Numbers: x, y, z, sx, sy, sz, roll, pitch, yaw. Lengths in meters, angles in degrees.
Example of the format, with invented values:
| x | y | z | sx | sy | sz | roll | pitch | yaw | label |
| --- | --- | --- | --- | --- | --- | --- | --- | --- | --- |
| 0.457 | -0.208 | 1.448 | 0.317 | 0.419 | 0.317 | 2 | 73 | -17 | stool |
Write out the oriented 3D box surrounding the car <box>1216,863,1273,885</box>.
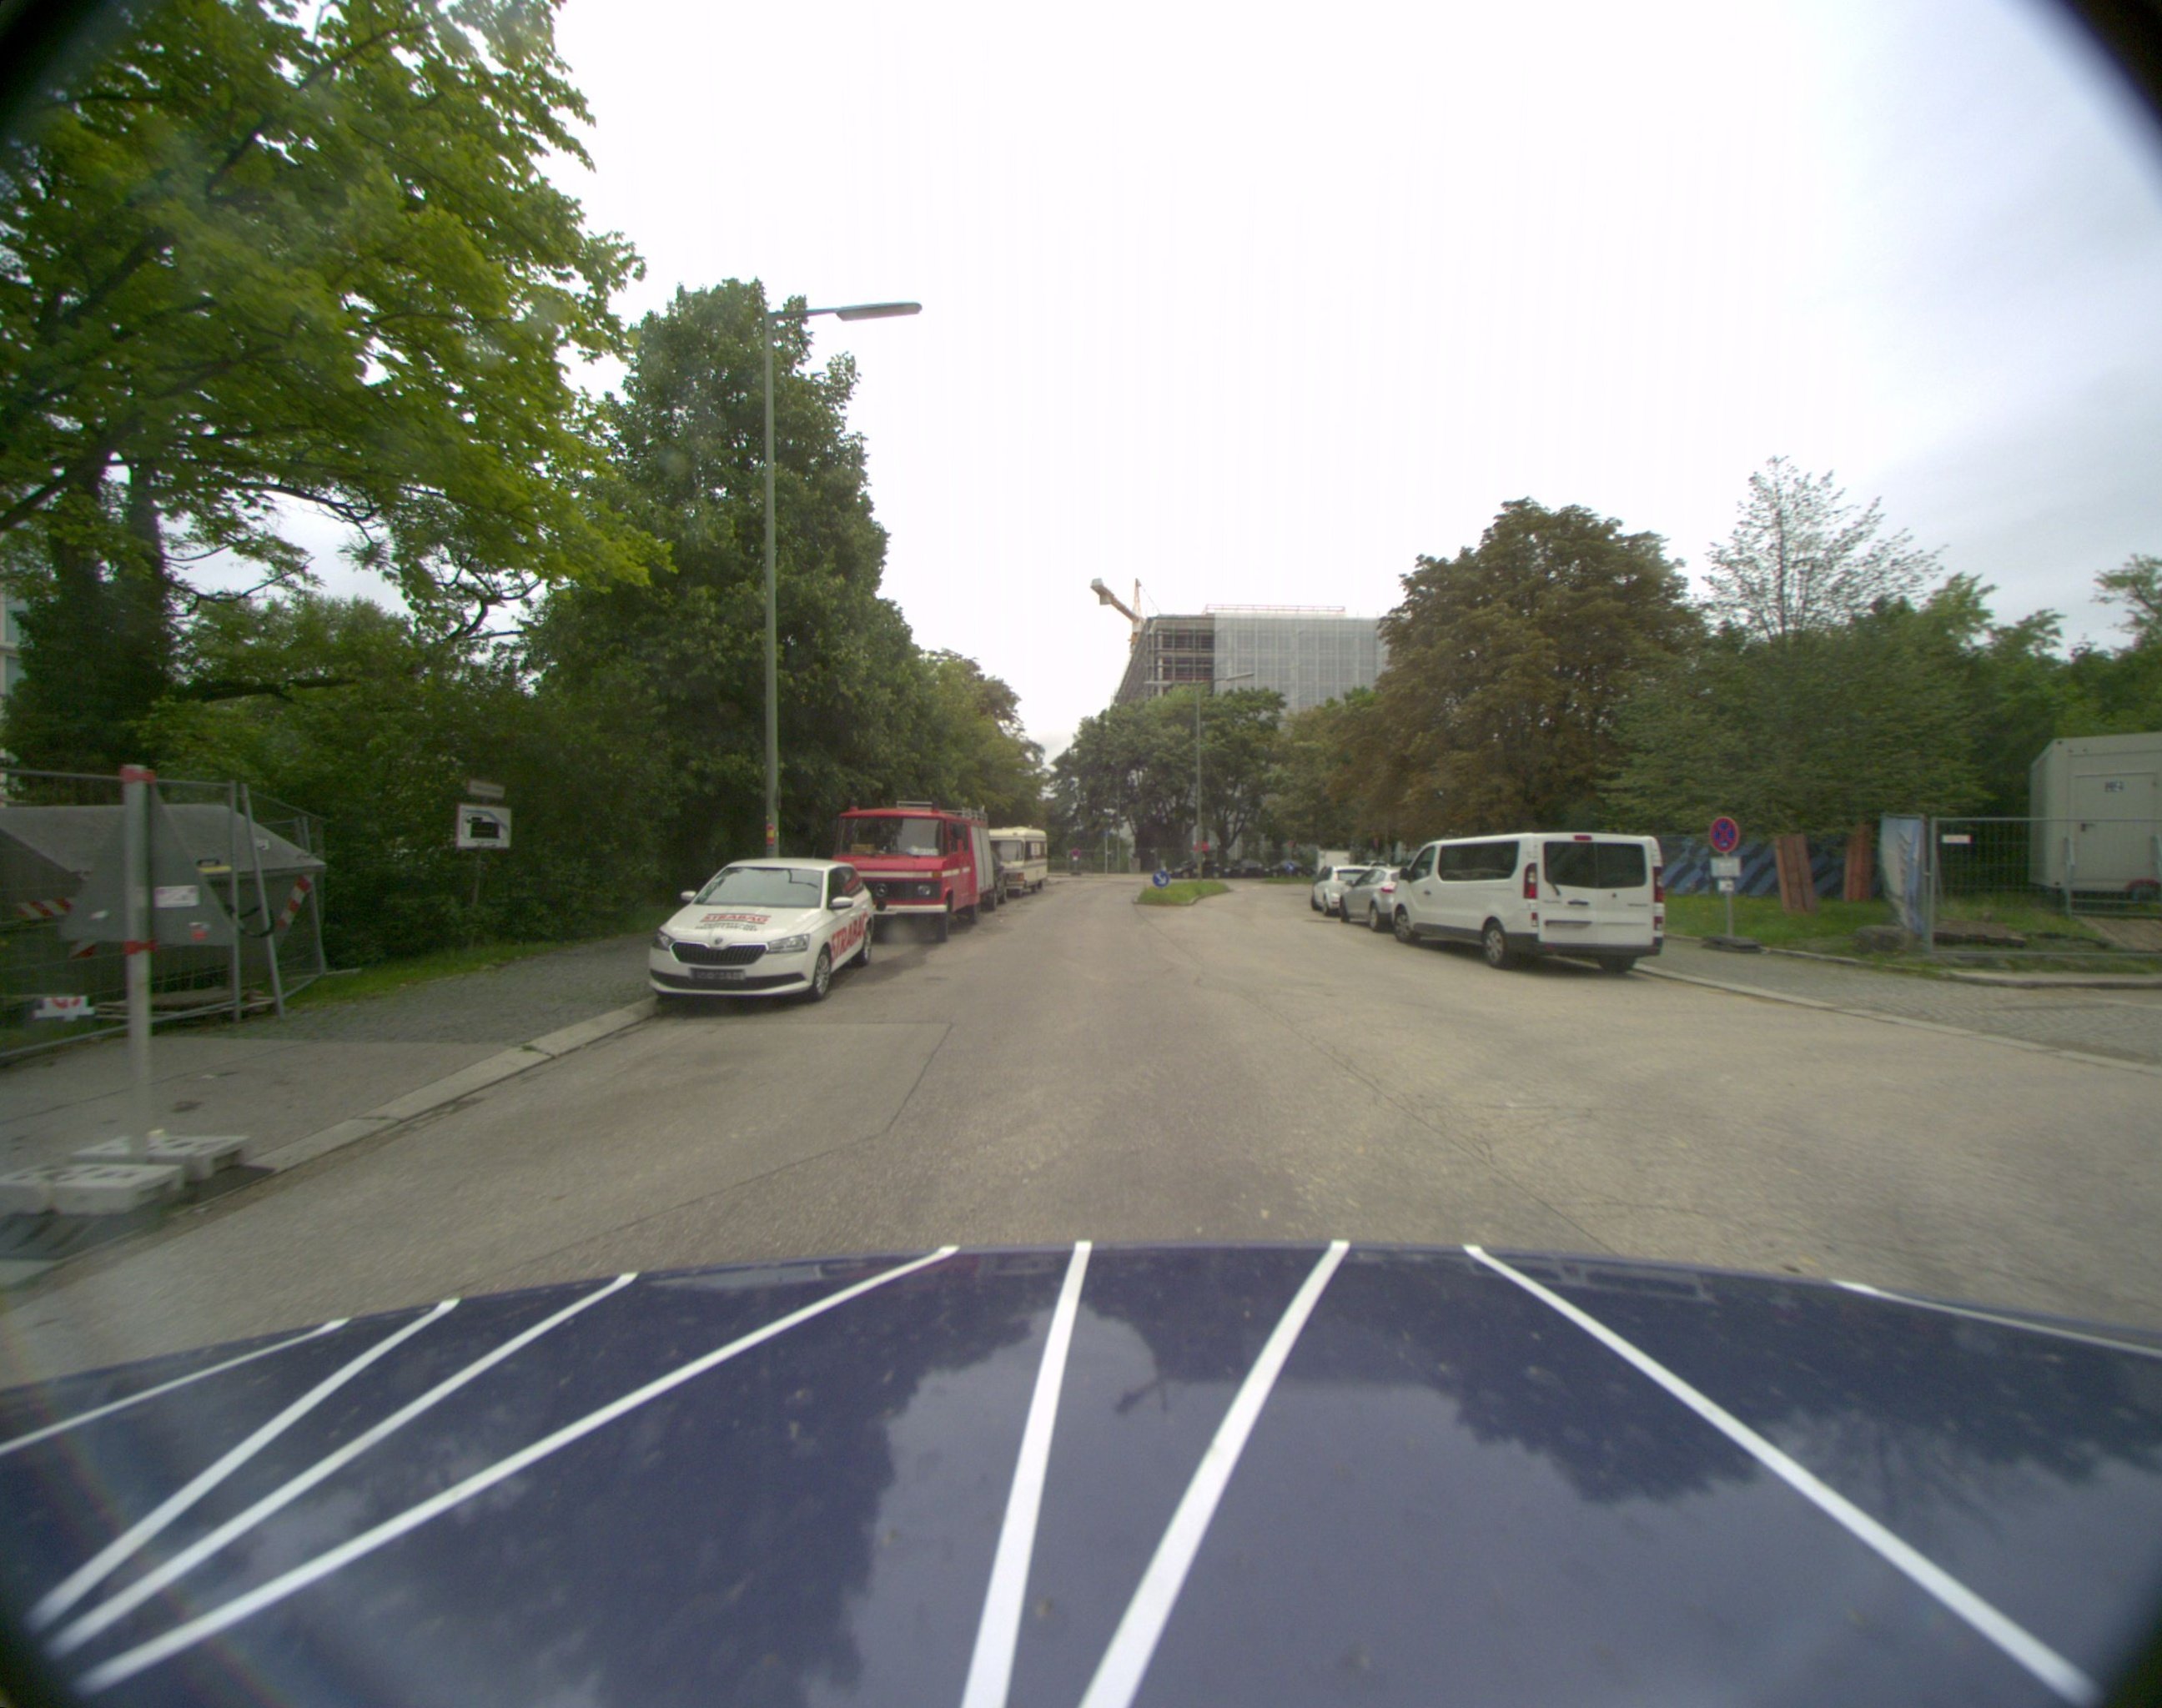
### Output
| x | y | z | sx | sy | sz | roll | pitch | yaw | label |
| --- | --- | --- | --- | --- | --- | --- | --- | --- | --- |
| 12.191 | 1.477 | 56.607 | 3.893 | 1.563 | 1.785 | 1 | 1 | -29 | car |

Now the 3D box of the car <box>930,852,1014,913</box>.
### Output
| x | y | z | sx | sy | sz | roll | pitch | yaw | label |
| --- | --- | --- | --- | --- | --- | --- | --- | --- | --- |
| -3.123 | 0.797 | 22.567 | 1.783 | 1.630 | 4.398 | 1 | -1 | 1 | car |

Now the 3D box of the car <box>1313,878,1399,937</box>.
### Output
| x | y | z | sx | sy | sz | roll | pitch | yaw | label |
| --- | --- | --- | --- | --- | --- | --- | --- | --- | --- |
| 8.120 | 1.514 | 22.793 | 1.740 | 1.450 | 4.035 | 2 | 0 | 11 | car |

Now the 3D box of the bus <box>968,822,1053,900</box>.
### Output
| x | y | z | sx | sy | sz | roll | pitch | yaw | label |
| --- | --- | --- | --- | --- | --- | --- | --- | --- | --- |
| -2.612 | 0.265 | 29.683 | 2.076 | 2.714 | 5.870 | 1 | 0 | 7 | bus |

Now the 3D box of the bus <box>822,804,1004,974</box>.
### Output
| x | y | z | sx | sy | sz | roll | pitch | yaw | label |
| --- | --- | --- | --- | --- | --- | --- | --- | --- | --- |
| -3.111 | 0.605 | 15.733 | 2.077 | 2.788 | 6.274 | 1 | 0 | 3 | bus |

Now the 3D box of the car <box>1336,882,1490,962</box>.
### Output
| x | y | z | sx | sy | sz | roll | pitch | yaw | label |
| --- | --- | --- | --- | --- | --- | --- | --- | --- | --- |
| 7.527 | 1.471 | 17.718 | 1.998 | 1.450 | 4.121 | 2 | 0 | 5 | car |

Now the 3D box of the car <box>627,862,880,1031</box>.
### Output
| x | y | z | sx | sy | sz | roll | pitch | yaw | label |
| --- | --- | --- | --- | --- | --- | --- | --- | --- | --- |
| -3.570 | 0.882 | 9.083 | 1.536 | 1.483 | 4.059 | 1 | 1 | -4 | car |

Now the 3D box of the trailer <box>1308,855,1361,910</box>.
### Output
| x | y | z | sx | sy | sz | roll | pitch | yaw | label |
| --- | --- | --- | --- | --- | --- | --- | --- | --- | --- |
| 10.867 | 1.160 | 32.453 | 1.778 | 2.169 | 2.782 | 2 | 0 | 24 | trailer |

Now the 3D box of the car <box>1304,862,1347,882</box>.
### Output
| x | y | z | sx | sy | sz | roll | pitch | yaw | label |
| --- | --- | --- | --- | --- | --- | --- | --- | --- | --- |
| 19.628 | 1.452 | 60.981 | 2.916 | 1.563 | 1.517 | 1 | 1 | -20 | car |

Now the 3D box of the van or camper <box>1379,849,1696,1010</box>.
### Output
| x | y | z | sx | sy | sz | roll | pitch | yaw | label |
| --- | --- | --- | --- | --- | --- | --- | --- | --- | --- |
| 7.016 | 1.020 | 12.658 | 1.994 | 2.022 | 5.588 | 2 | -1 | 2 | van or camper |

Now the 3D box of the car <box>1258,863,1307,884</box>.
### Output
| x | y | z | sx | sy | sz | roll | pitch | yaw | label |
| --- | --- | --- | --- | --- | --- | --- | --- | --- | --- |
| 15.640 | 1.491 | 58.999 | 3.267 | 1.563 | 1.656 | 1 | 1 | -23 | car |

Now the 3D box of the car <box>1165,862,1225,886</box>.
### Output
| x | y | z | sx | sy | sz | roll | pitch | yaw | label |
| --- | --- | --- | --- | --- | --- | --- | --- | --- | --- |
| 8.178 | 1.424 | 54.420 | 3.892 | 1.563 | 1.786 | 1 | 1 | -24 | car |

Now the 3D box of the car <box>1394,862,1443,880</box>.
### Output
| x | y | z | sx | sy | sz | roll | pitch | yaw | label |
| --- | --- | --- | --- | --- | --- | --- | --- | --- | --- |
| 28.781 | 1.459 | 64.839 | 3.723 | 1.379 | 1.518 | 1 | 1 | -17 | car |

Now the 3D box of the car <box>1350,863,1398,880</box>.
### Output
| x | y | z | sx | sy | sz | roll | pitch | yaw | label |
| --- | --- | --- | --- | --- | --- | --- | --- | --- | --- |
| 24.460 | 1.471 | 63.495 | 3.725 | 1.379 | 1.517 | 1 | 1 | -24 | car |

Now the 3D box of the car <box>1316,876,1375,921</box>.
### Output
| x | y | z | sx | sy | sz | roll | pitch | yaw | label |
| --- | --- | --- | --- | --- | --- | --- | --- | --- | --- |
| 9.619 | 1.578 | 27.836 | 1.692 | 1.403 | 3.800 | 2 | 0 | 15 | car |
